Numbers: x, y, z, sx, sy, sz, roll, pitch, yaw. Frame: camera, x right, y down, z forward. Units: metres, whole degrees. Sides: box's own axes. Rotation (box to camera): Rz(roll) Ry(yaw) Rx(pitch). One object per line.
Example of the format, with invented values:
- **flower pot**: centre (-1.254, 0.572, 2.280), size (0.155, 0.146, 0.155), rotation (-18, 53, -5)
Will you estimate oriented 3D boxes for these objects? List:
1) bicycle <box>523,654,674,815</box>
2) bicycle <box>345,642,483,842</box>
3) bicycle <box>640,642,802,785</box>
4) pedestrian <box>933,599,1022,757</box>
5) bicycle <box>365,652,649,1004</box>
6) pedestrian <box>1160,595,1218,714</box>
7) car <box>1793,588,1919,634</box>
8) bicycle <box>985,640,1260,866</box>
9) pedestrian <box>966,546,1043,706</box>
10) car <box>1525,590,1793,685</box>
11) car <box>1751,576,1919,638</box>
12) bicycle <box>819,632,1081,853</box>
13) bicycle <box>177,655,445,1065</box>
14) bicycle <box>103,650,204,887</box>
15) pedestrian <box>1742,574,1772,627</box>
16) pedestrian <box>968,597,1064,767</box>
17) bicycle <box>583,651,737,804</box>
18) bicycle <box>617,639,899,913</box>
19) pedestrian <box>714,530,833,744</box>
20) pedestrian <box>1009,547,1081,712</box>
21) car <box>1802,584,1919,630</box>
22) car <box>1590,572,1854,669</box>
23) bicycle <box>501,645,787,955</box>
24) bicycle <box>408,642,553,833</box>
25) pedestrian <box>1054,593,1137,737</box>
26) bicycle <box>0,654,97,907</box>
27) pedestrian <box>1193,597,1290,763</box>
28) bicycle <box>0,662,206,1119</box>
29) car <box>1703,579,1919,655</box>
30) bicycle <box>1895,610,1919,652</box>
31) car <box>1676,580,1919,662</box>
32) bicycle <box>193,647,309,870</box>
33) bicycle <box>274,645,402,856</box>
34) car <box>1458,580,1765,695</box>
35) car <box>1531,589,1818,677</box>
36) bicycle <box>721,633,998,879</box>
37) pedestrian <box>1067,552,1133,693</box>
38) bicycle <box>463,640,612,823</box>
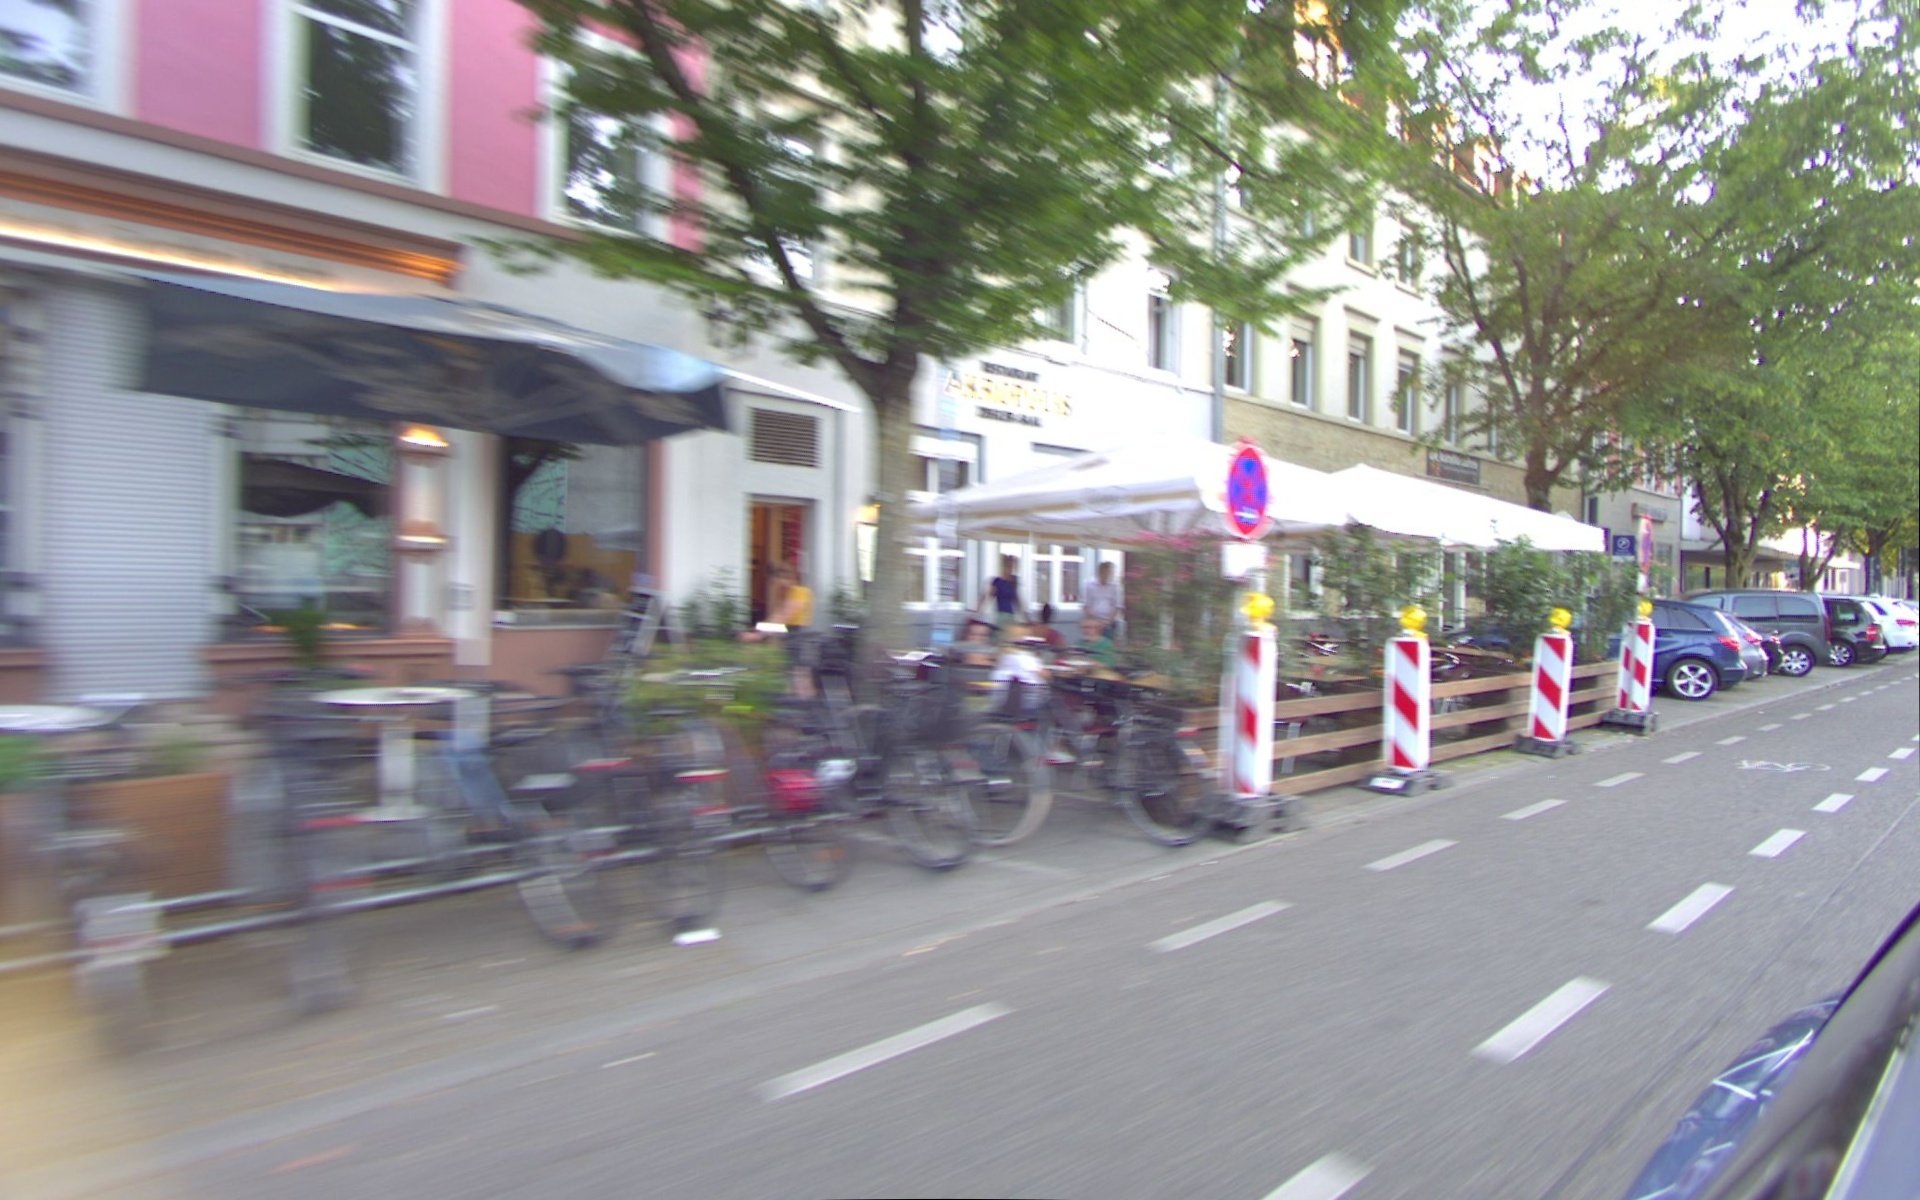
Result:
- **bicycle**: centre (-2.521, 0.859, 6.937), size (0.320, 0.883, 1.818), rotation (0, 1, -41)
- **bicycle**: centre (-3.370, 0.791, 6.173), size (0.320, 0.883, 1.819), rotation (0, 3, -42)
- **bicycle**: centre (-1.846, 0.797, 7.638), size (0.381, 0.883, 1.818), rotation (0, 1, -41)
- **pedestrian**: centre (0.149, 0.643, 8.773), size (0.589, 1.309, 0.503), rotation (0, 0, -40)
- **bicycle**: centre (-2.089, 0.860, 4.507), size (0.598, 1.044, 1.890), rotation (0, 3, -42)
- **pedestrian**: centre (2.652, 0.603, 11.674), size (0.546, 1.323, 0.710), rotation (0, 0, 22)
- **car**: centre (34.314, 0.402, 38.059), size (4.120, 1.483, 1.957), rotation (4, 2, 22)
- **bicycle**: centre (0.945, 0.859, 6.270), size (0.547, 1.044, 1.682), rotation (0, 3, -42)
- **pedestrian**: centre (0.522, 0.289, 11.768), size (0.548, 1.785, 0.843), rotation (0, 0, 32)
- **car**: centre (12.427, 0.600, 18.309), size (3.751, 1.425, 1.689), rotation (3, 2, 29)
- **car**: centre (31.051, 0.206, 35.444), size (4.943, 1.849, 2.183), rotation (4, 3, 32)
- **bicycle**: centre (-0.130, 0.815, 6.458), size (0.598, 1.044, 1.819), rotation (0, 3, -42)
- **bicycle**: centre (-2.640, 0.848, 4.008), size (0.598, 1.044, 1.890), rotation (0, 3, -42)
- **bicycle**: centre (-4.314, 0.807, 5.378), size (0.320, 0.883, 1.819), rotation (0, 3, -42)
- **pedestrian**: centre (30.585, 0.012, 38.824), size (0.772, 2.009, 0.693), rotation (0, 2, -41)
- **pedestrian**: centre (0.455, 0.632, 8.219), size (0.502, 1.308, 0.590), rotation (1, 1, 45)
- **bicycle**: centre (-2.189, 0.853, 7.241), size (0.320, 0.883, 1.818), rotation (0, 1, -41)
- **bicycle**: centre (-1.166, 0.832, 5.465), size (0.598, 1.044, 1.890), rotation (0, 3, -42)
- **pedestrian**: centre (-1.643, 0.308, 8.940), size (0.878, 1.785, 0.551), rotation (0, 0, -41)
- **pedestrian**: centre (0.959, 0.321, 11.381), size (0.548, 1.785, 0.707), rotation (0, -1, 32)
- **car**: centre (38.100, 0.290, 42.189), size (4.109, 1.684, 1.834), rotation (3, 2, 16)
- **car**: centre (16.315, 0.373, 21.968), size (4.112, 1.829, 1.994), rotation (2, 2, 22)
- **bicycle**: centre (-1.629, 0.847, 4.975), size (0.598, 1.044, 1.890), rotation (0, 3, -42)
- **bicycle**: centre (-3.083, 0.797, 6.416), size (0.320, 0.883, 1.819), rotation (0, 3, -42)
- **pedestrian**: centre (1.283, 0.588, 9.611), size (0.495, 1.309, 0.599), rotation (0, 0, -39)
- **bicycle**: centre (-4.591, 0.815, 5.107), size (0.320, 0.883, 1.819), rotation (0, 3, -42)
- **pedestrian**: centre (2.331, 0.635, 8.390), size (0.588, 1.309, 0.504), rotation (0, -1, -35)
- **bicycle**: centre (-3.165, 0.861, 3.608), size (0.598, 1.044, 1.890), rotation (0, 3, -42)
- **car**: centre (23.236, 0.390, 27.395), size (1.973, 1.708, 4.658), rotation (1, 3, -41)
- **bicycle**: centre (26.567, 0.846, 27.355), size (1.830, 1.117, 0.491), rotation (0, 0, 37)
- **car**: centre (21.141, 0.450, 25.604), size (4.652, 1.708, 1.975), rotation (4, 3, 45)
- **bicycle**: centre (-3.993, 0.802, 5.652), size (0.320, 0.883, 1.819), rotation (0, 3, -42)
- **bicycle**: centre (-3.671, 0.798, 5.911), size (0.320, 0.883, 1.819), rotation (0, 3, -42)
- **car**: centre (10.398, 0.517, 16.524), size (3.932, 1.572, 1.692), rotation (2, 2, 25)
- **car**: centre (14.057, 0.586, 20.223), size (4.270, 1.406, 1.795), rotation (3, 2, 20)
- **bicycle**: centre (-0.661, 0.808, 5.944), size (0.598, 1.044, 1.890), rotation (0, 3, -42)
- **pedestrian**: centre (1.838, 0.282, 13.225), size (0.696, 1.785, 0.710), rotation (0, 0, 22)
- **bicycle**: centre (-2.822, 0.795, 6.652), size (0.320, 0.883, 1.819), rotation (0, 3, -42)
